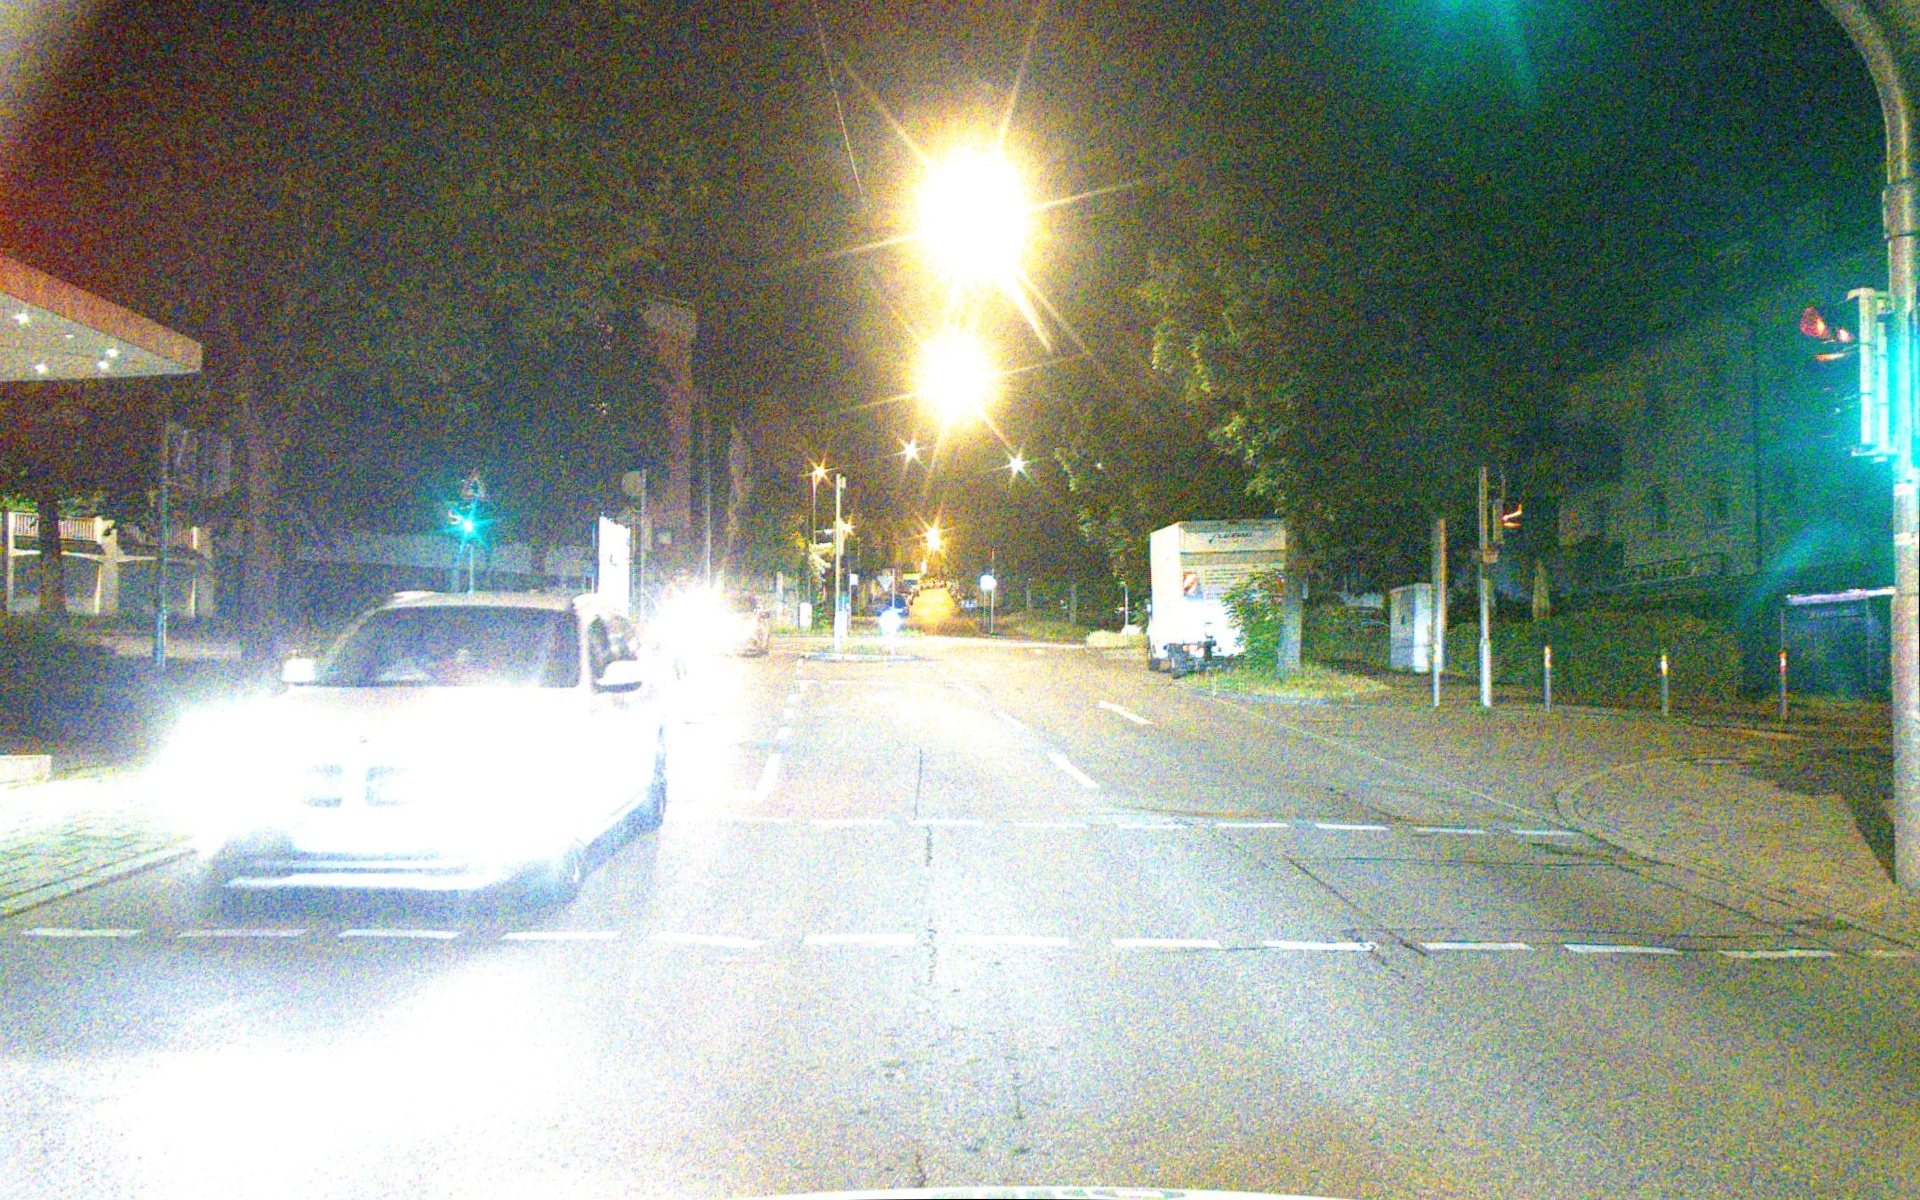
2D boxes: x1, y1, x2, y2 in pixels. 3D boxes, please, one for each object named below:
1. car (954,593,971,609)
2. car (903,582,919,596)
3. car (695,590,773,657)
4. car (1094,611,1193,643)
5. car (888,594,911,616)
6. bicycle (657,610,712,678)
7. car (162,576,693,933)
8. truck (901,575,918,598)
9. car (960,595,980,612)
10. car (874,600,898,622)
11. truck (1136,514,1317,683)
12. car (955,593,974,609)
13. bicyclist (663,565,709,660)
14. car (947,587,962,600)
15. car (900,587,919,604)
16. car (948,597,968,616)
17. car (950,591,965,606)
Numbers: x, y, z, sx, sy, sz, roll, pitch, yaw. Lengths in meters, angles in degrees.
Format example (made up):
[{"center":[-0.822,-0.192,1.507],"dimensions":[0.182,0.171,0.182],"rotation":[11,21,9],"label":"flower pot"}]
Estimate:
[{"center":[0.256,0.104,159.271],"dimensions":[1.601,1.477,3.484],"rotation":[1,0,-1],"label":"car"},{"center":[-5.538,-1.200,186.874],"dimensions":[1.779,1.517,3.998],"rotation":[1,0,-2],"label":"car"},{"center":[-5.428,0.538,40.012],"dimensions":[1.550,1.528,3.394],"rotation":[1,0,-3],"label":"car"},{"center":[8.715,1.267,78.733],"dimensions":[4.474,1.413,1.923],"rotation":[1,0,0],"label":"car"},{"center":[-4.901,0.372,134.357],"dimensions":[1.778,1.713,3.999],"rotation":[1,0,-1],"label":"car"},{"center":[-4.926,0.767,29.689],"dimensions":[0.682,1.169,1.950],"rotation":[1,0,-1],"label":"bicycle"},{"center":[-2.683,0.686,9.357],"dimensions":[1.820,1.561,4.026],"rotation":[1,0,-3],"label":"car"},{"center":[-6.441,-1.701,209.499],"dimensions":[2.044,2.897,5.828],"rotation":[1,0,-2],"label":"truck"},{"center":[0.874,0.294,143.360],"dimensions":[1.601,1.477,3.484],"rotation":[1,0,-1],"label":"car"},{"center":[-5.266,0.760,118.124],"dimensions":[1.601,1.477,3.484],"rotation":[1,0,-1],"label":"car"},{"center":[5.413,-0.029,34.642],"dimensions":[2.693,3.165,6.257],"rotation":[1,0,0],"label":"truck"},{"center":[0.411,0.067,153.089],"dimensions":[1.601,1.477,3.484],"rotation":[1,0,-1],"label":"car"},{"center":[-4.921,0.227,29.775],"dimensions":[0.676,1.666,0.896],"rotation":[1,-1,-1],"label":"bicyclist"},{"center":[-0.657,-0.744,191.473],"dimensions":[1.601,1.477,3.484],"rotation":[1,0,-1],"label":"car"},{"center":[-4.882,-0.432,160.490],"dimensions":[1.779,1.517,3.998],"rotation":[1,0,-2],"label":"car"},{"center":[-0.164,0.520,138.073],"dimensions":[1.561,1.502,3.653],"rotation":[1,0,-1],"label":"car"},{"center":[-0.269,-0.169,178.505],"dimensions":[1.601,1.477,3.484],"rotation":[1,0,-1],"label":"car"}]
